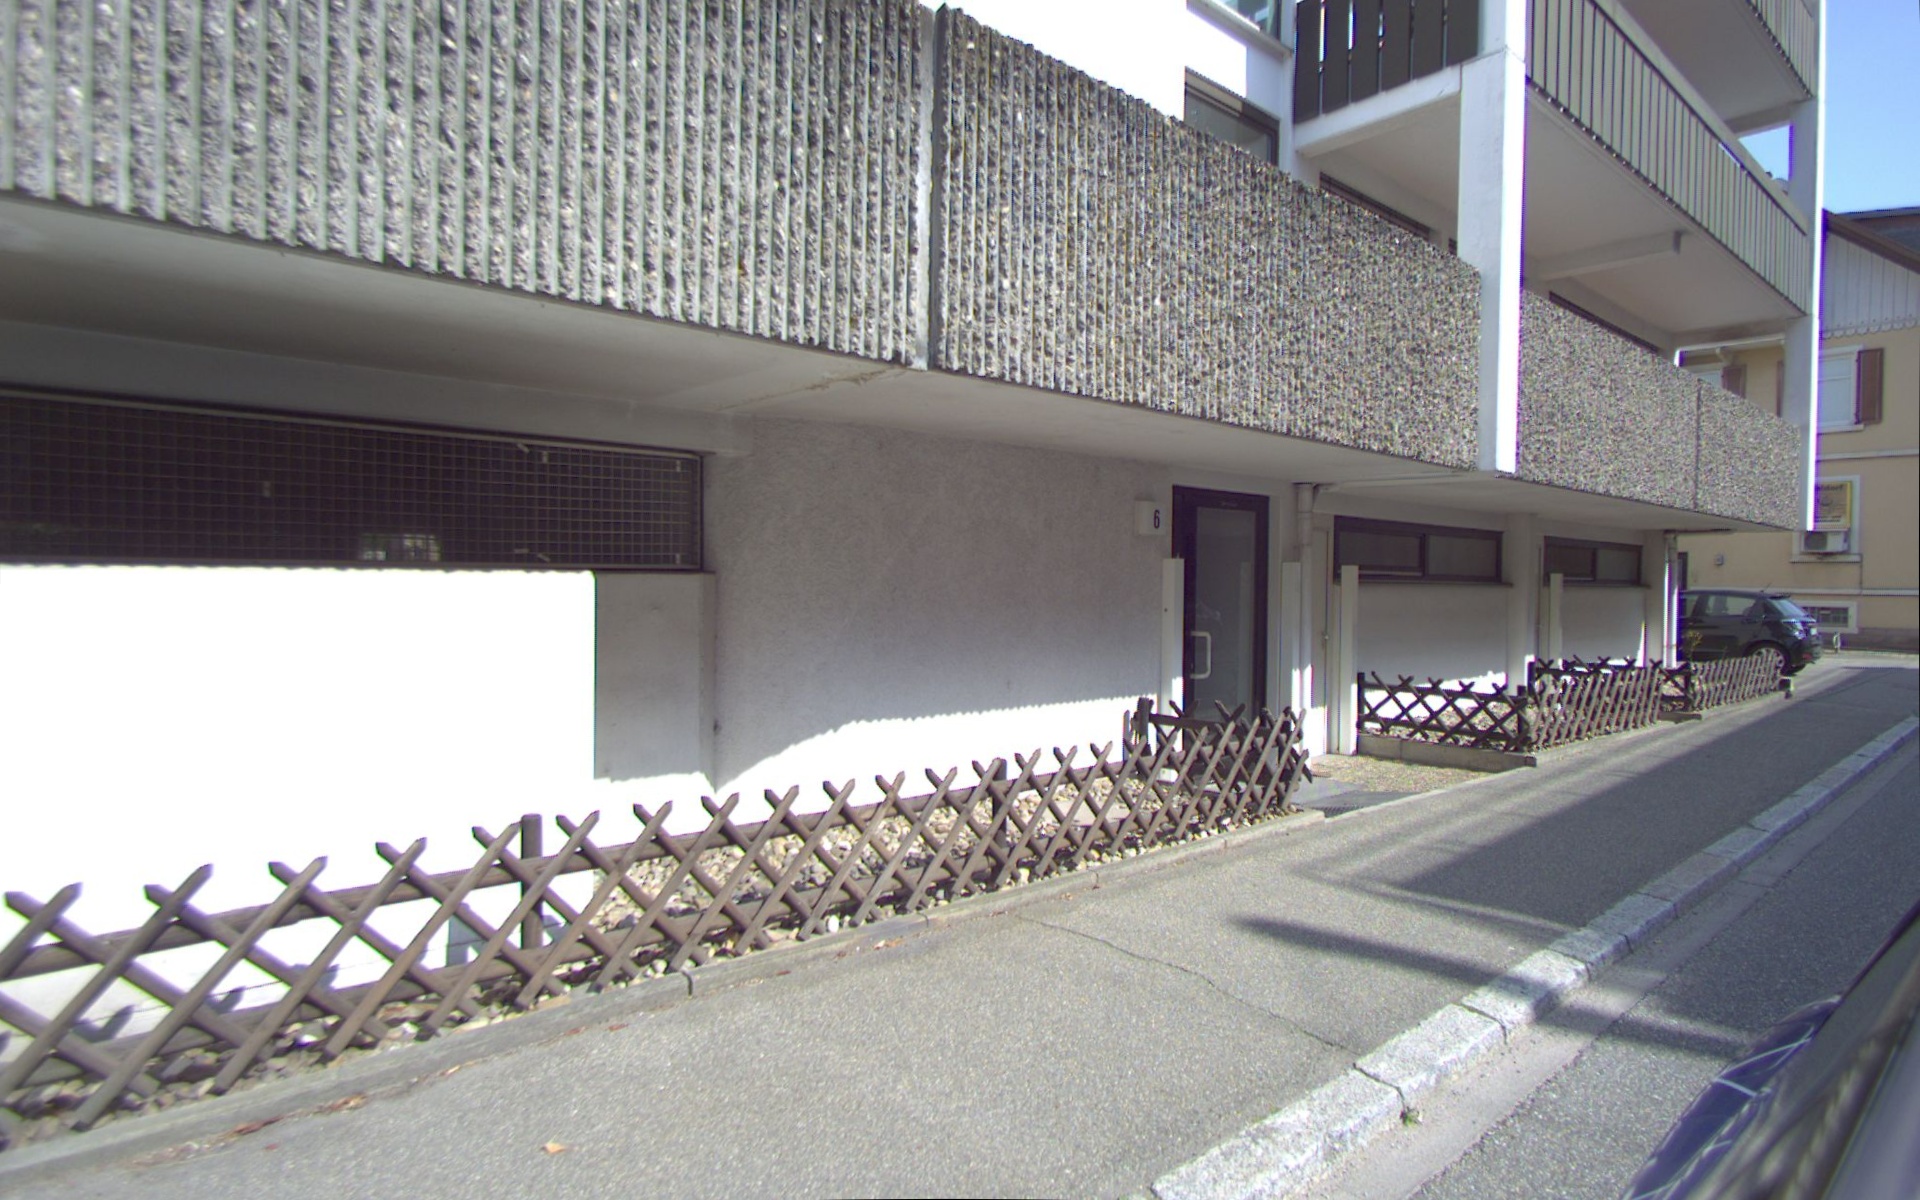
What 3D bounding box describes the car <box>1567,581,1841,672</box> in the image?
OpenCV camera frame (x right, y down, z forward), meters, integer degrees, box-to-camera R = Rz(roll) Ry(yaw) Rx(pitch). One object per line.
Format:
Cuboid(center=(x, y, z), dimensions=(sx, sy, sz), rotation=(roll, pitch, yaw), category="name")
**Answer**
Cuboid(center=(13.673, 0.437, 18.753), dimensions=(1.671, 1.498, 3.832), rotation=(-1, 1, -42), category="car")
